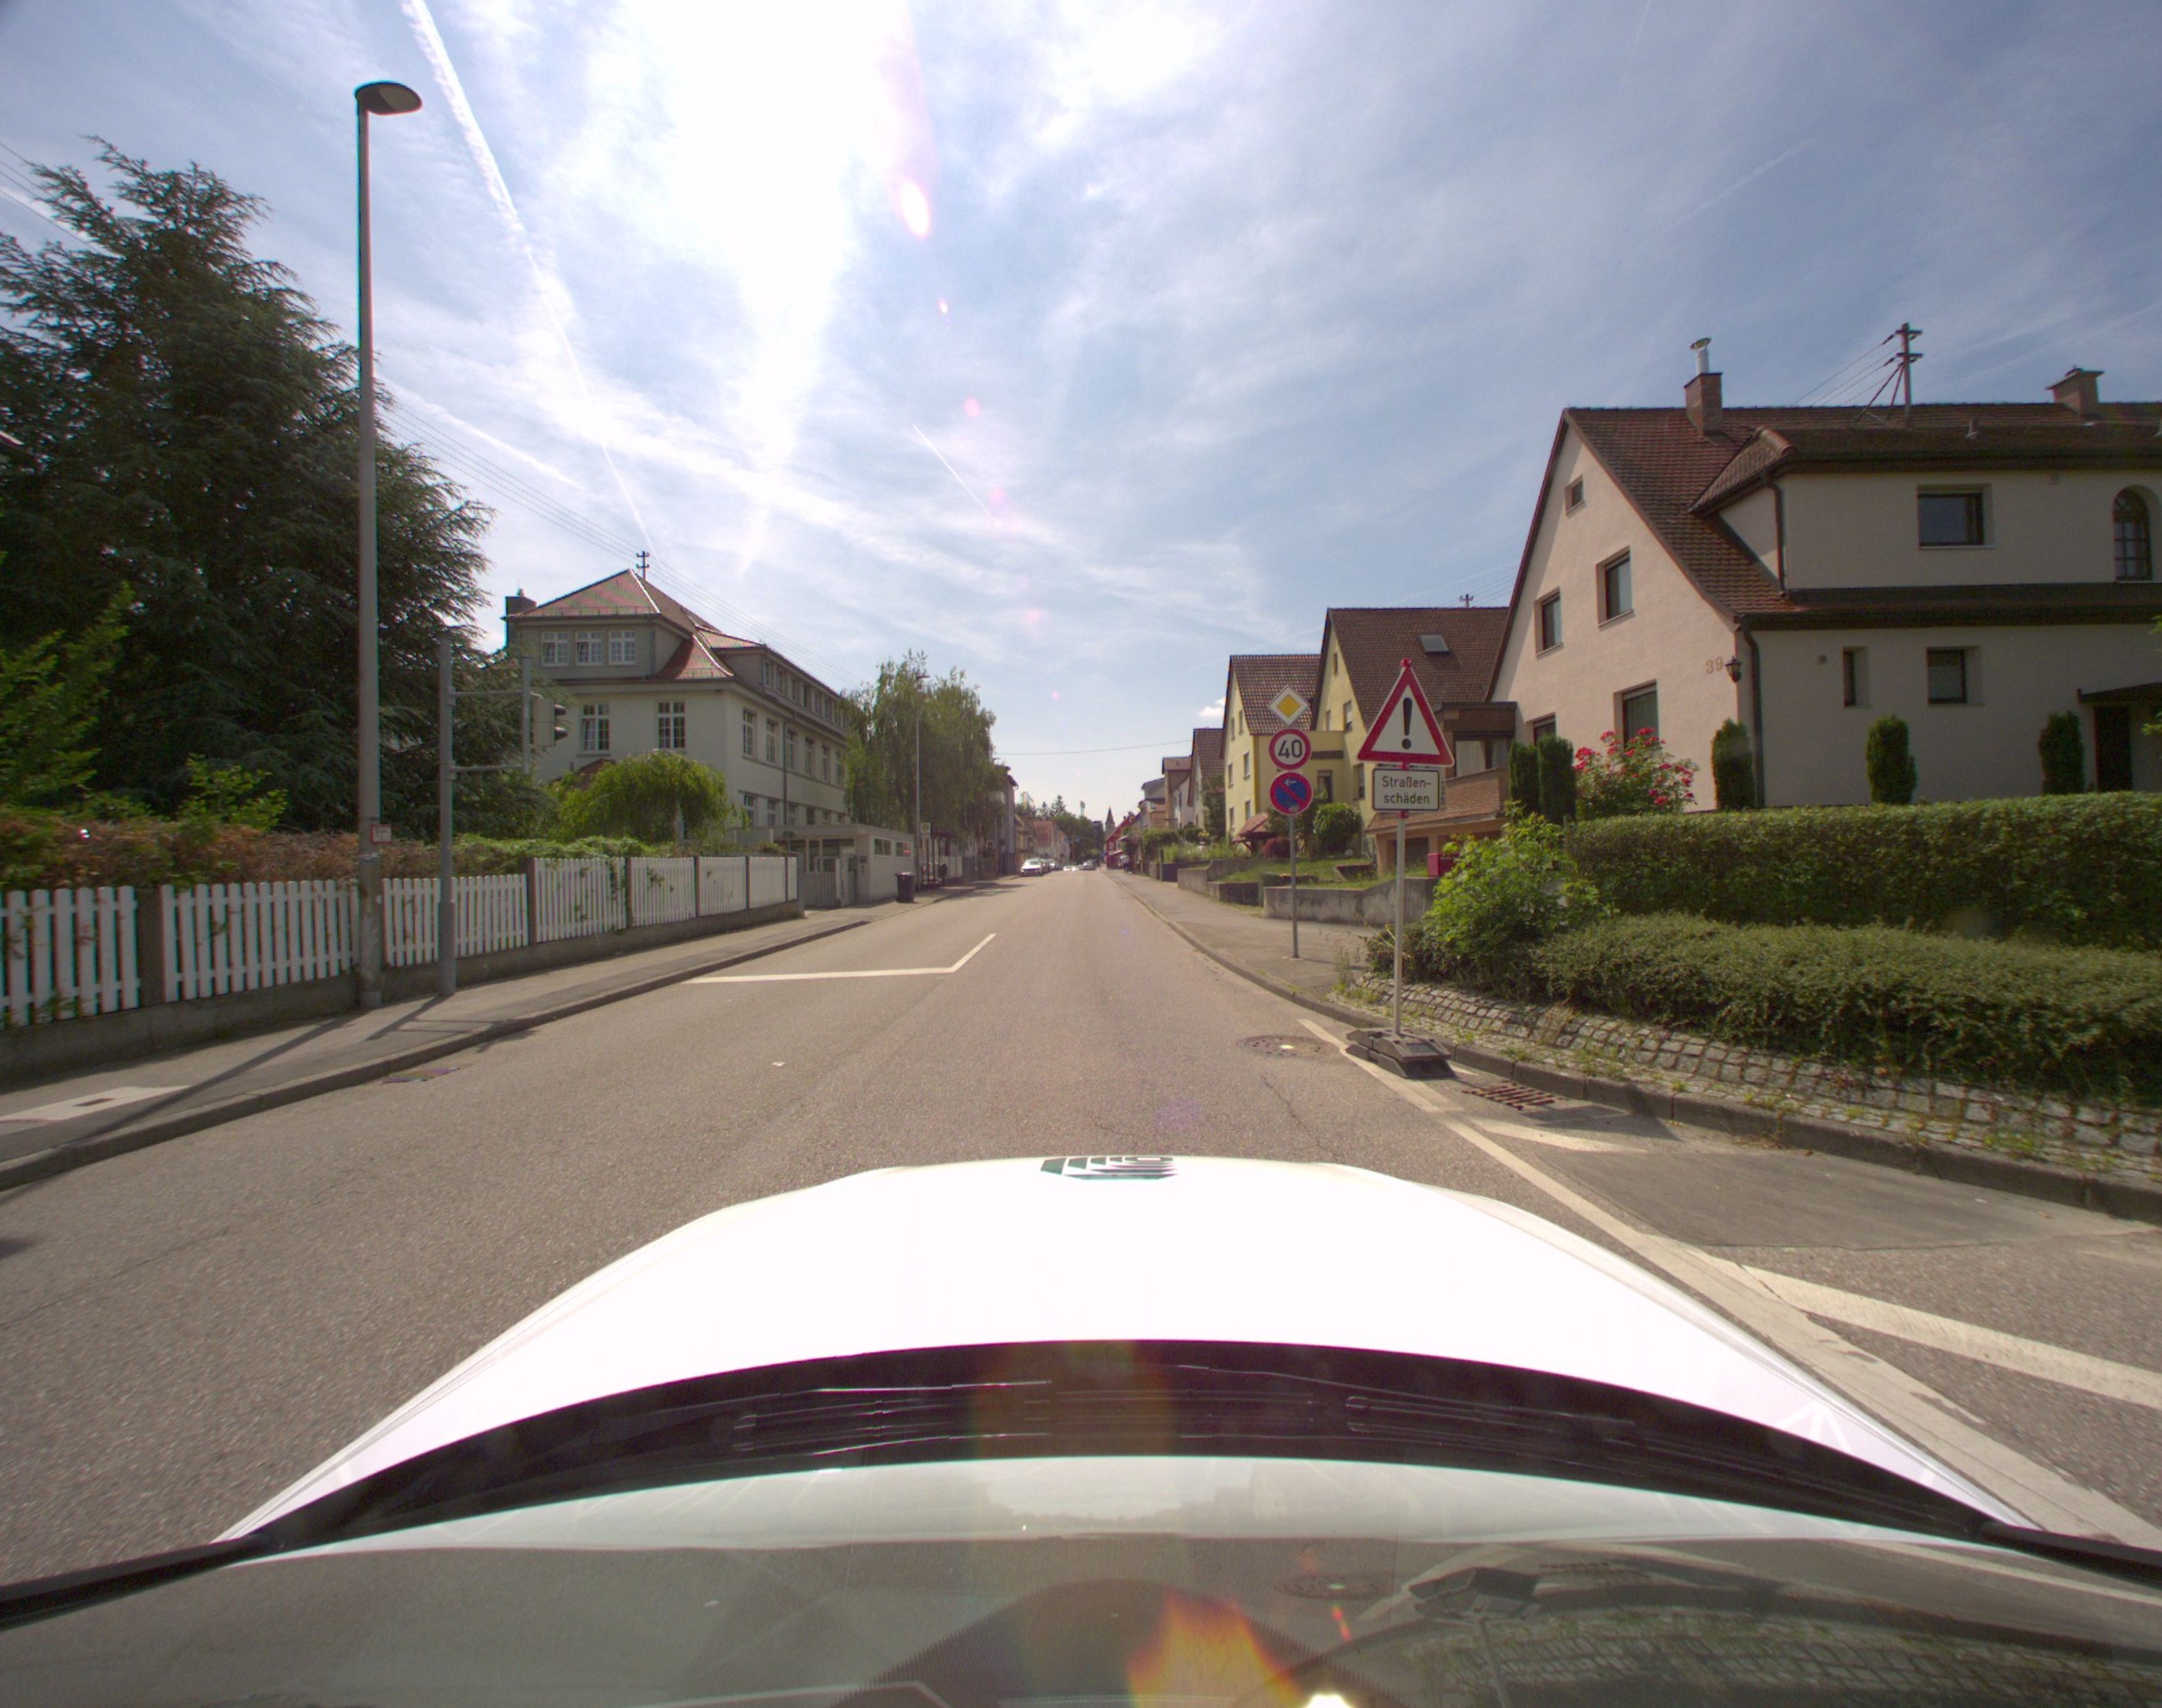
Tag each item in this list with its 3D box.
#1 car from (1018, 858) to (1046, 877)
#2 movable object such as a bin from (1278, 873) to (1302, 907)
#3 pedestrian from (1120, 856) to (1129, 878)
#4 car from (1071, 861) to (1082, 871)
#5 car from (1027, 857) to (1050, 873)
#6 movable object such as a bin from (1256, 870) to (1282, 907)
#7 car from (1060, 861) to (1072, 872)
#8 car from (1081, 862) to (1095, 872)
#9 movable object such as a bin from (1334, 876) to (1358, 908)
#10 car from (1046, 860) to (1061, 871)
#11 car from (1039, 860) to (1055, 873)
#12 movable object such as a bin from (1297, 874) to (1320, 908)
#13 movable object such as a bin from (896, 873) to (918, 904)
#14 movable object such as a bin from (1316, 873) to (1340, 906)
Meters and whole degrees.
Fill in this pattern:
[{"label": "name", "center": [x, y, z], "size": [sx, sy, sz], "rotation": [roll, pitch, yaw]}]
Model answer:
[{"label": "car", "center": [-4.274, 1.177, 71.355], "size": [2.103, 1.560, 4.314], "rotation": [-2, 0, 1]}, {"label": "movable object such as a bin", "center": [6.422, 1.103, 24.992], "size": [0.526, 0.989, 0.563], "rotation": [5, 0, 0]}, {"label": "pedestrian", "center": [3.675, 1.092, 68.817], "size": [0.644, 1.729, 0.608], "rotation": [-4, 0, 0]}, {"label": "car", "center": [-0.820, 2.393, 162.404], "size": [1.986, 2.013, 4.002], "rotation": [-2, 0, 2]}, {"label": "car", "center": [-4.284, 1.102, 82.610], "size": [1.987, 1.560, 4.313], "rotation": [-2, 0, 0]}, {"label": "movable object such as a bin", "center": [5.756, 1.041, 24.967], "size": [0.581, 1.078, 0.733], "rotation": [3, 0, 0]}, {"label": "car", "center": [-3.081, 2.589, 168.241], "size": [1.986, 2.013, 4.002], "rotation": [-2, 0, 2]}, {"label": "car", "center": [1.123, 2.118, 131.470], "size": [1.989, 1.560, 4.309], "rotation": [-2, 0, -3]}, {"label": "movable object such as a bin", "center": [8.152, 1.166, 25.097], "size": [0.526, 0.951, 0.563], "rotation": [2, 0, 0]}, {"label": "car", "center": [-4.049, 1.724, 120.599], "size": [1.987, 1.560, 4.314], "rotation": [-2, 0, 1]}, {"label": "car", "center": [-4.459, 1.583, 107.266], "size": [1.988, 1.560, 4.311], "rotation": [-2, 0, -1]}, {"label": "movable object such as a bin", "center": [6.976, 1.124, 24.988], "size": [0.526, 0.989, 0.563], "rotation": [3, 0, 0]}, {"label": "movable object such as a bin", "center": [-6.377, 1.257, 29.839], "size": [0.605, 1.046, 0.725], "rotation": [-1, 1, 0]}, {"label": "movable object such as a bin", "center": [7.594, 1.079, 25.023], "size": [0.526, 0.951, 0.563], "rotation": [3, 0, 0]}]
